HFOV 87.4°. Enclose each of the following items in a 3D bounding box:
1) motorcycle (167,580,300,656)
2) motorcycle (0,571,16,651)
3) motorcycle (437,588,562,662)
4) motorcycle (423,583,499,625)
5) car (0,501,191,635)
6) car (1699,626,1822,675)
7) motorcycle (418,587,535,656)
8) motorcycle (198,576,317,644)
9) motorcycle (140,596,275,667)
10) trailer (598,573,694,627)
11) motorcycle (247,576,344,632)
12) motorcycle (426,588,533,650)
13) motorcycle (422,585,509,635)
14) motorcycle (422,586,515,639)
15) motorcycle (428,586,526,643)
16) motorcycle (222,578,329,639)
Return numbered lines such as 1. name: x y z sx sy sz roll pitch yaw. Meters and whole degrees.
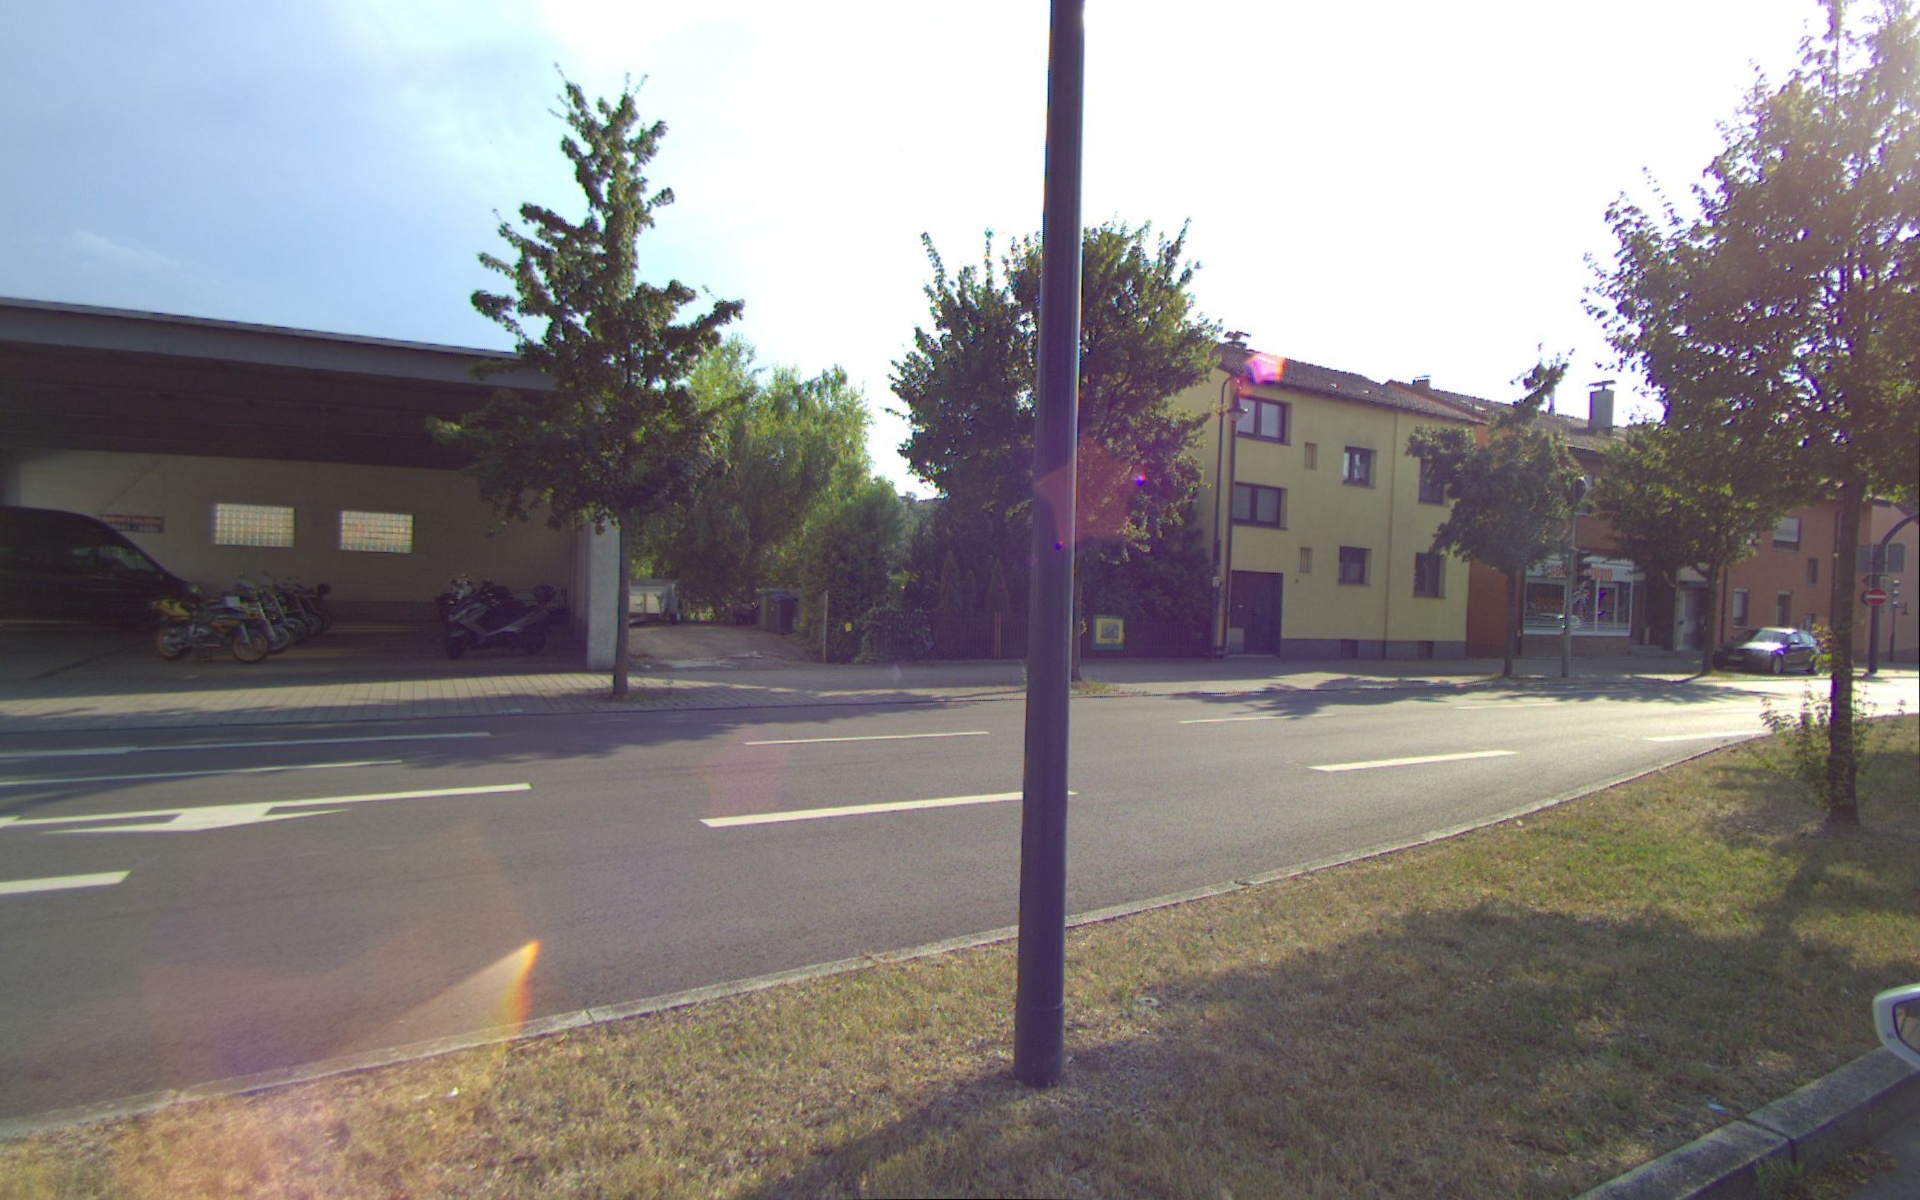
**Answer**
1. motorcycle: -13.634 0.323 18.861 2.219 1.354 0.631 1 0 10
2. motorcycle: -17.289 0.173 16.724 0.619 1.380 2.225 1 0 24
3. motorcycle: -8.621 0.433 18.896 0.621 1.314 2.113 1 2 36
4. motorcycle: -15.960 0.107 32.176 0.621 1.314 2.113 1 2 36
5. car: -20.454 -0.676 22.091 1.962 2.789 5.280 1 0 26
6. car: 25.968 1.598 32.552 3.953 1.319 1.728 1 4 -30
7. motorcycle: -9.814 0.405 20.458 0.621 1.314 2.113 1 2 36
8. motorcycle: -14.754 0.209 21.104 2.219 1.354 0.631 1 0 10
9. motorcycle: -12.498 0.507 16.696 1.993 1.101 0.631 1 0 12
10. trailer: -8.219 -0.002 26.617 1.698 1.280 3.995 1 0 -7
11. motorcycle: -16.910 0.108 25.572 2.219 1.354 0.631 1 0 10
12. motorcycle: -10.744 0.388 22.536 0.621 1.314 2.113 1 2 36
13. motorcycle: -13.514 0.245 27.518 0.621 1.314 2.113 1 2 36
14. motorcycle: -12.650 0.297 25.920 0.621 1.314 2.113 1 2 36
15. motorcycle: -11.768 0.317 24.537 0.621 1.314 2.113 1 2 36
16. motorcycle: -15.886 0.186 23.313 2.219 1.354 0.631 1 0 10
